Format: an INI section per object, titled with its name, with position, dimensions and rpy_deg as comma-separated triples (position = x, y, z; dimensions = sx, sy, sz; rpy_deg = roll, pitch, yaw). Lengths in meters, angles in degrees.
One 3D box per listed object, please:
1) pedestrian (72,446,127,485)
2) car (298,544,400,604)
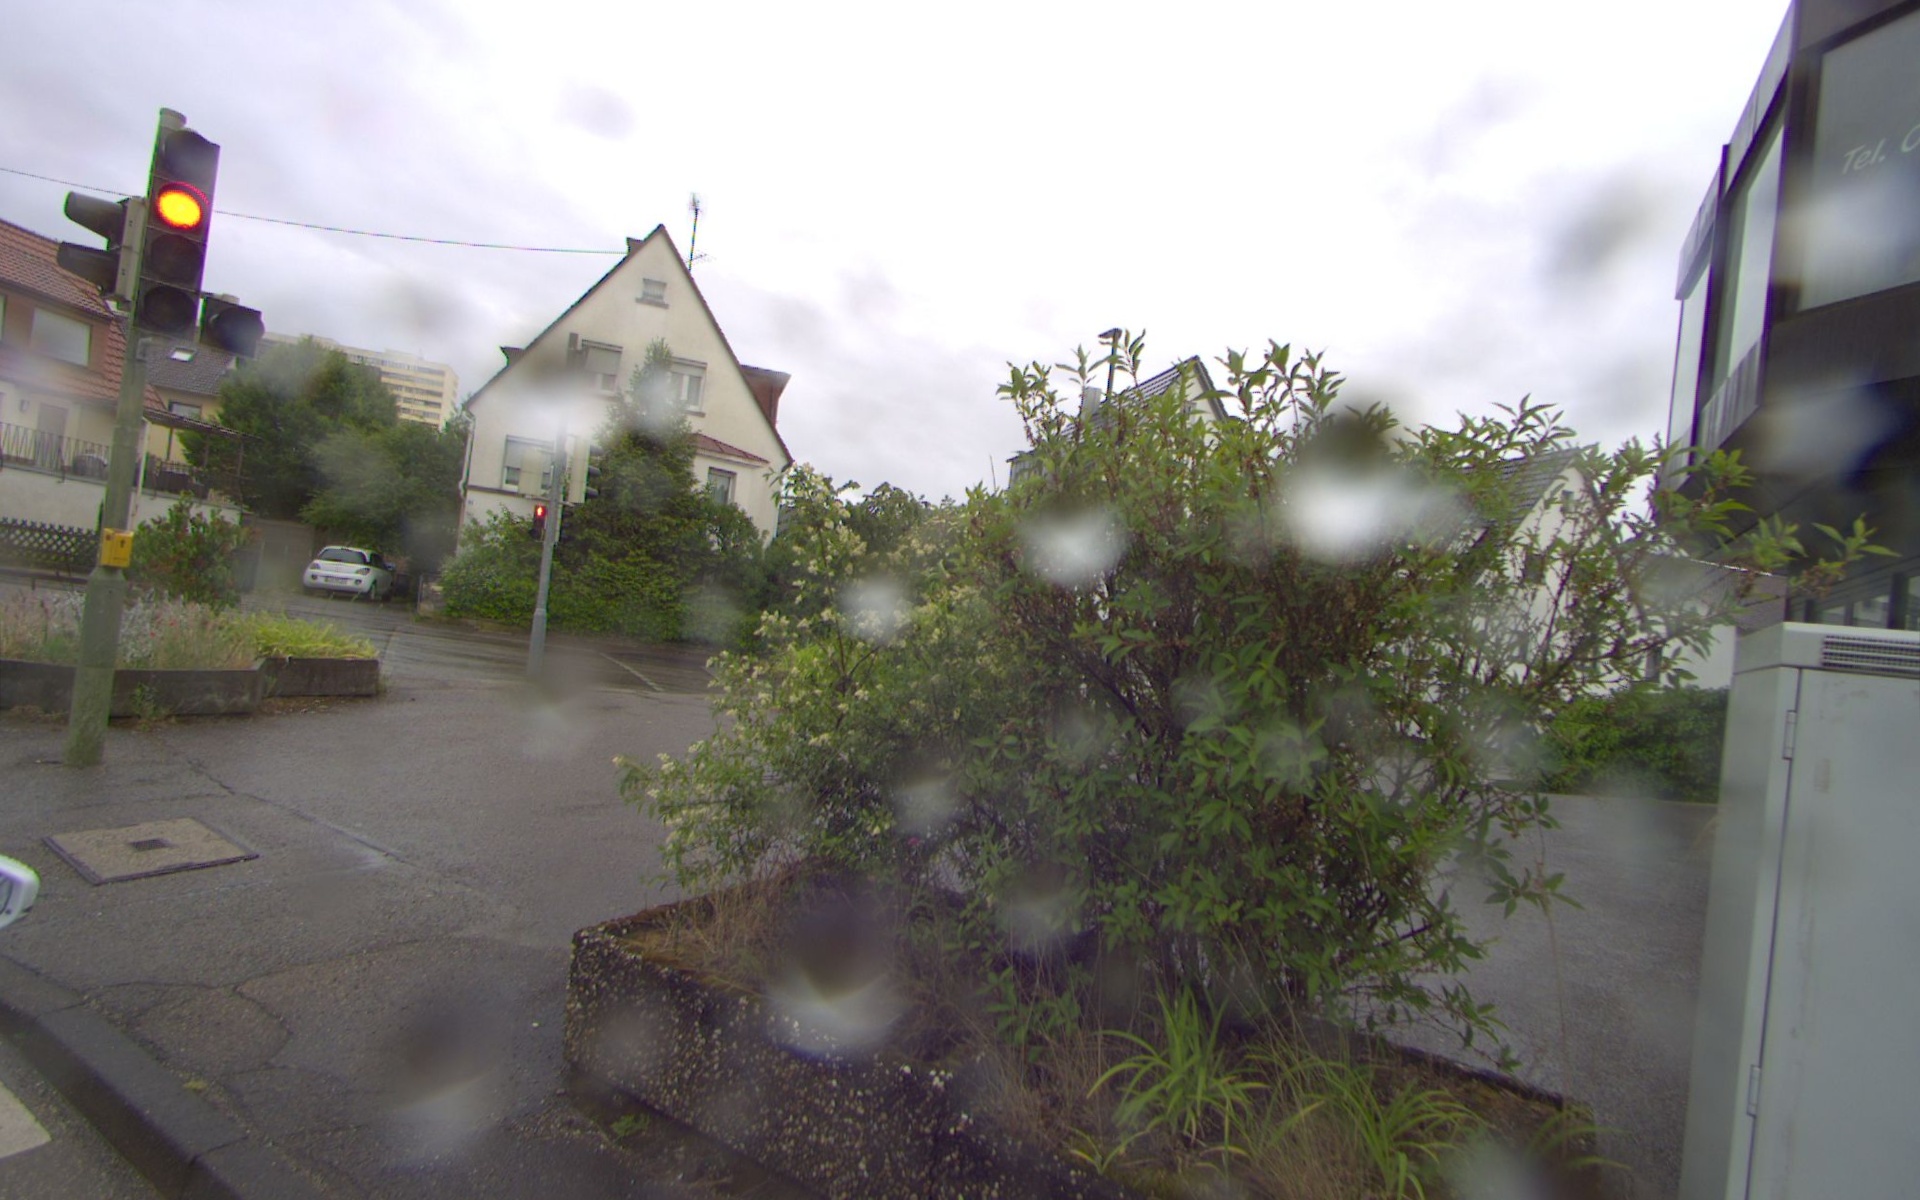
[pedestrian]
position = -24.266, -3.791, 28.369
dimensions = 0.623, 0.893, 0.920
rpy_deg = 5, -2, 13
[car]
position = -17.750, -0.734, 29.419
dimensions = 1.794, 1.378, 3.981
rpy_deg = 8, -2, -22
